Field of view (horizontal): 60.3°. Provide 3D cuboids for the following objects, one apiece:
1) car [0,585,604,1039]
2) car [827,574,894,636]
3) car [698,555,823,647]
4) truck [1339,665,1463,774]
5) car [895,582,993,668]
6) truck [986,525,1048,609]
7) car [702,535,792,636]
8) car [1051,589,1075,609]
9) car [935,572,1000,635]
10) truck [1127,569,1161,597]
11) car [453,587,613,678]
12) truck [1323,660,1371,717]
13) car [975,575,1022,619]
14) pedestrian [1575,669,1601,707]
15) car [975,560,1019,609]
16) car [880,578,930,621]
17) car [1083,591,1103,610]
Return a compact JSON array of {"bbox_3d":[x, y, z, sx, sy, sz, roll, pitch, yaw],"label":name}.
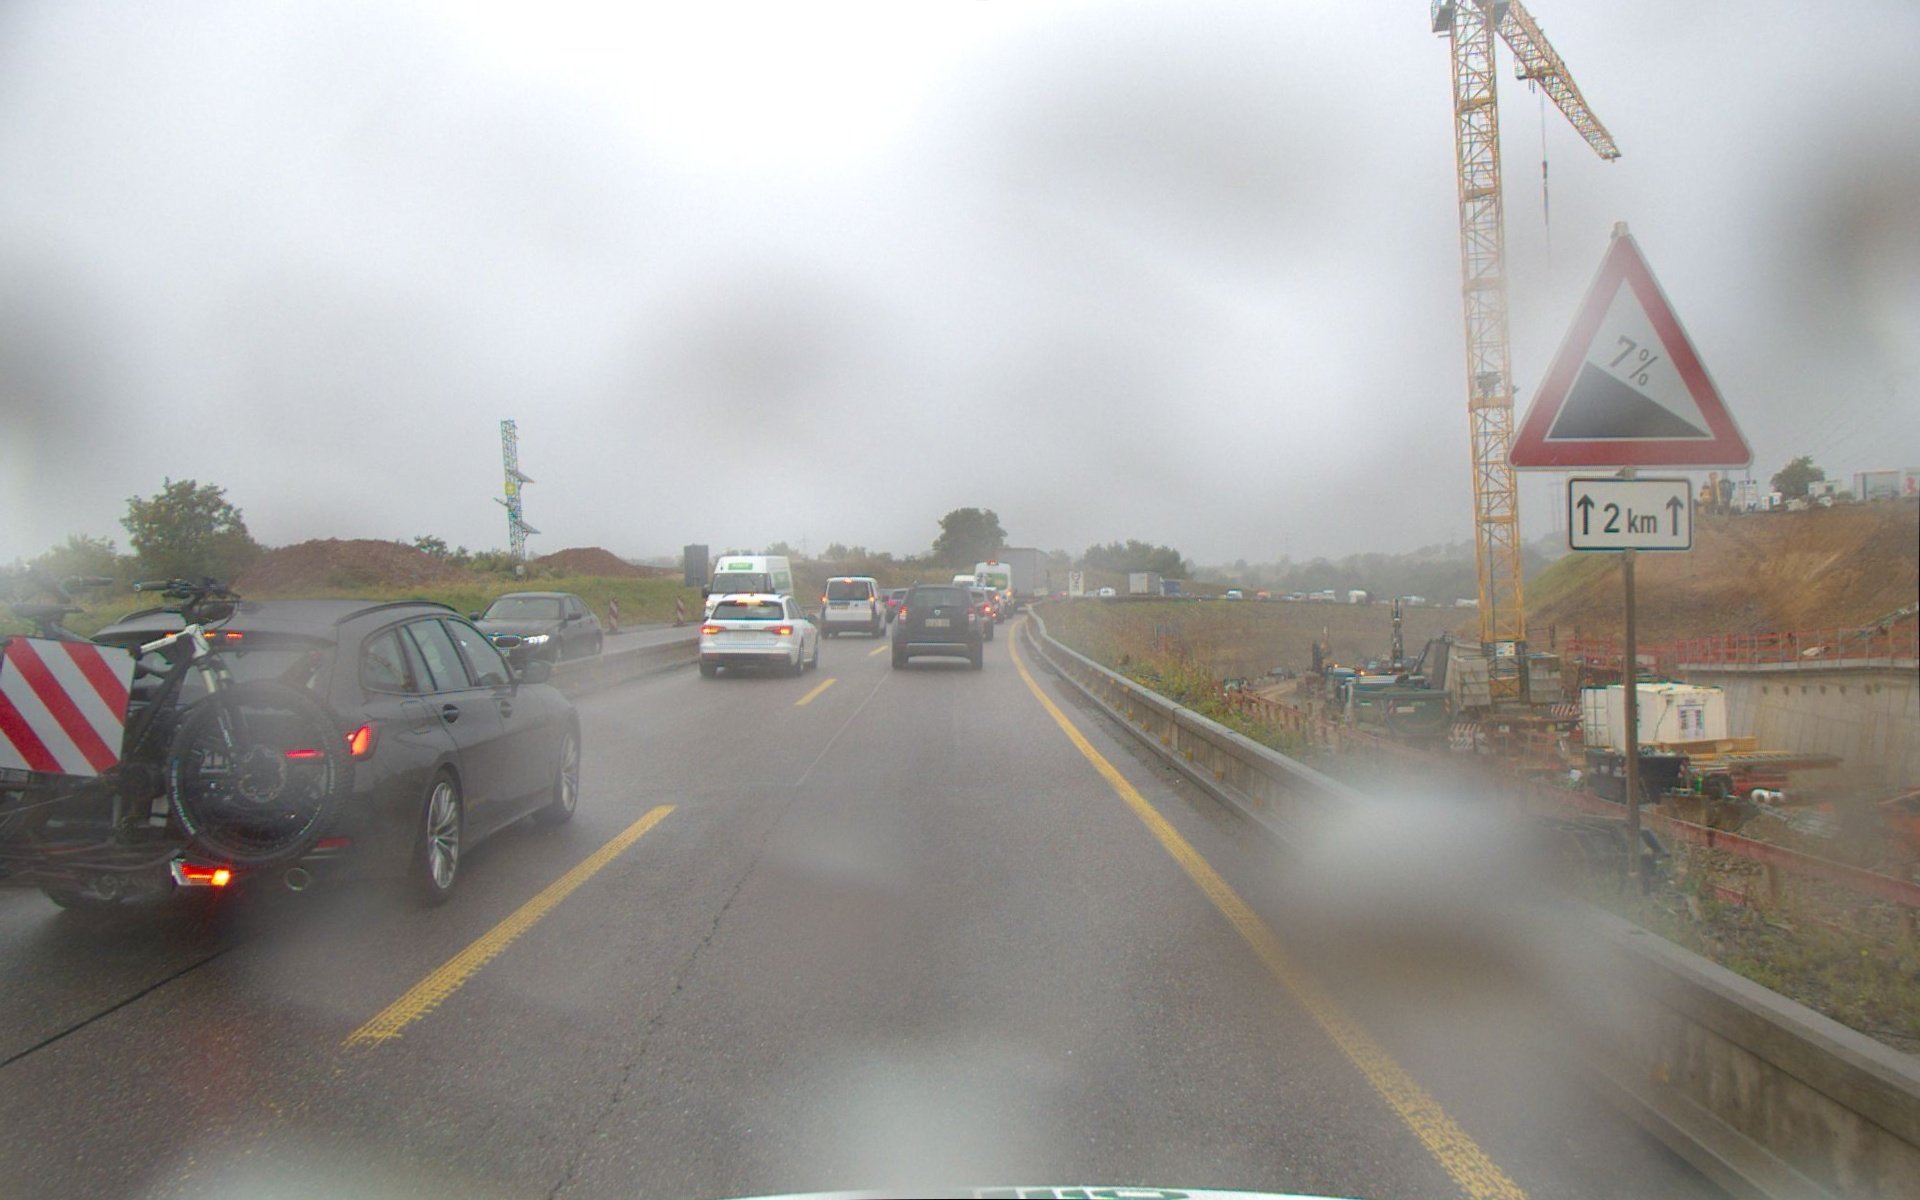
[{"bbox_3d":[-3.206,0.737,8.734,1.700,1.488,5.627,0,2,-3],"label":"car"},{"bbox_3d":[-3.052,0.158,51.491,1.789,1.847,4.000,1,0,0],"label":"car"},{"bbox_3d":[-3.505,0.027,29.744,1.789,1.525,3.999,1,0,-1],"label":"car"},{"bbox_3d":[16.869,4.457,63.875,2.643,3.565,8.950,1,0,2],"label":"truck"},{"bbox_3d":[-0.260,0.485,33.478,1.788,1.619,4.001,1,0,2],"label":"car"},{"bbox_3d":[3.816,-2.003,107.997,3.469,5.166,10.447,1,0,5],"label":"truck"},{"bbox_3d":[-6.976,-0.478,54.894,1.952,3.098,7.172,1,0,1],"label":"car"},{"bbox_3d":[11.385,-0.104,182.686,1.991,2.150,4.161,1,0,13],"label":"car"},{"bbox_3d":[0.270,0.125,50.918,1.788,1.847,4.001,1,0,3],"label":"car"},{"bbox_3d":[25.547,-2.367,229.603,3.398,3.780,8.423,0,1,15],"label":"truck"},{"bbox_3d":[-7.602,0.528,29.889,1.711,1.521,4.749,0,0,-1],"label":"car"},{"bbox_3d":[27.364,6.180,117.243,2.671,3.552,9.072,1,0,9],"label":"truck"},{"bbox_3d":[1.704,-0.101,72.210,1.788,1.847,4.002,1,0,5],"label":"car"},{"bbox_3d":[36.171,5.064,95.258,0.885,2.031,0.899,10,0,9],"label":"pedestrian"},{"bbox_3d":[1.958,-0.778,86.001,1.787,2.480,4.161,1,0,8],"label":"car"},{"bbox_3d":[-2.423,0.009,73.690,1.788,1.847,4.002,1,0,4],"label":"car"},{"bbox_3d":[16.575,0.101,205.695,1.991,2.295,4.161,1,0,12],"label":"car"}]
